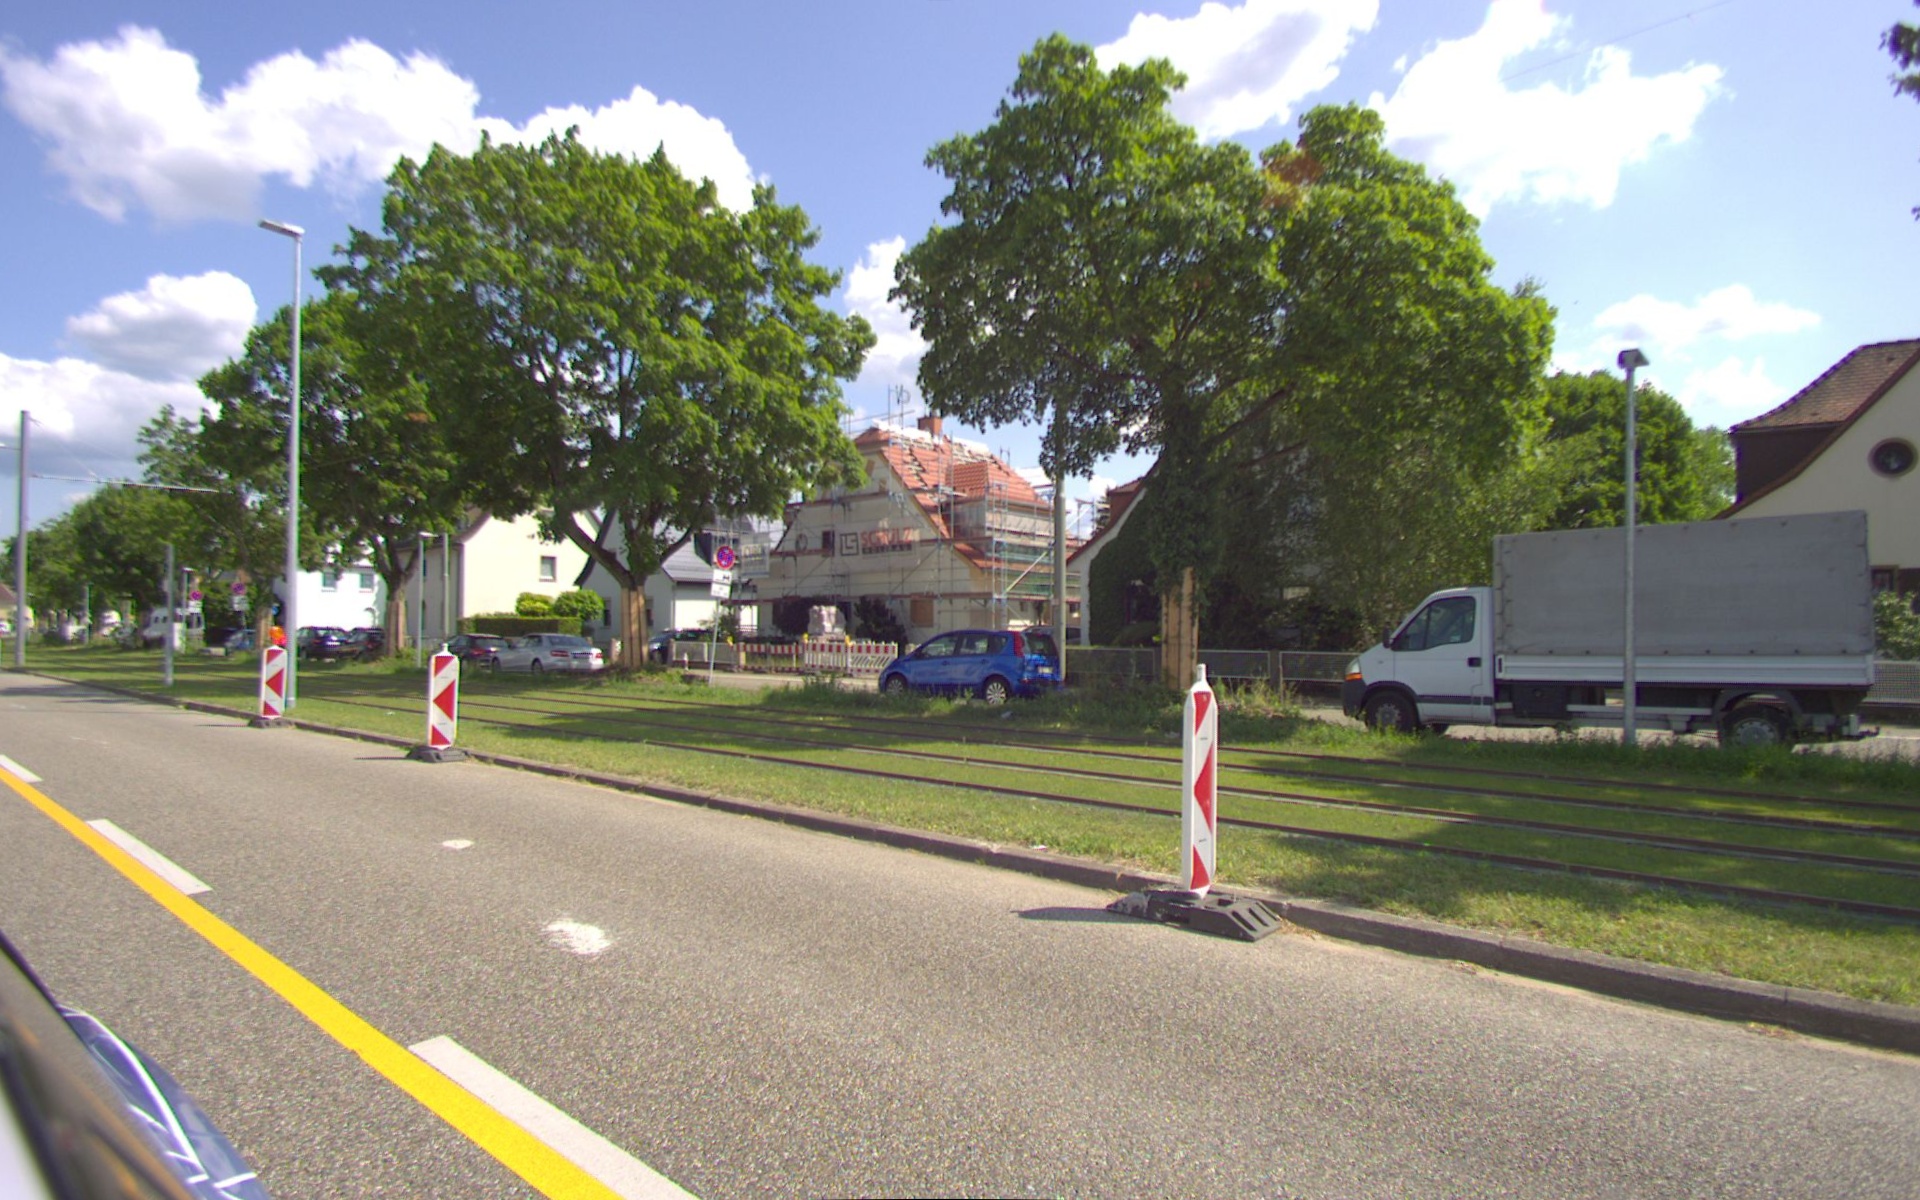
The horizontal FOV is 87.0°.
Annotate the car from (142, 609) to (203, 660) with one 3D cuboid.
[{"bbox_3d":[-49.528,2.198,63.589,5.080,3.061,2.108,-3,-3,41],"label":"car"}]

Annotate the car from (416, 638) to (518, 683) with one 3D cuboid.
[{"bbox_3d":[-17.527,2.140,35.883,4.403,1.497,1.680,-3,-3,41],"label":"car"}]

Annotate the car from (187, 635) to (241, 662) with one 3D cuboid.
[{"bbox_3d":[-44.488,2.909,60.313,4.403,1.497,1.680,-3,-3,41],"label":"car"}]

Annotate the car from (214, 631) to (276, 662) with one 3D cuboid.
[{"bbox_3d":[-37.503,2.458,53.035,4.403,1.497,1.680,-3,-3,41],"label":"car"}]

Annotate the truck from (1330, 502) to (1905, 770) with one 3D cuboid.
[{"bbox_3d":[8.298,0.464,13.399,5.971,2.802,2.242,-2,-3,41],"label":"truck"}]

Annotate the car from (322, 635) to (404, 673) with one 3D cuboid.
[{"bbox_3d":[-25.187,2.278,42.639,4.403,1.497,1.680,-3,-3,41],"label":"car"}]

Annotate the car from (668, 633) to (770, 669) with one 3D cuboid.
[{"bbox_3d":[-10.934,2.319,46.202,1.702,1.497,4.345,-4,-3,41],"label":"car"}]

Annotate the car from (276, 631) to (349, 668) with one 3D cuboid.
[{"bbox_3d":[-29.503,2.251,46.061,4.403,1.584,1.680,-3,-3,41],"label":"car"}]

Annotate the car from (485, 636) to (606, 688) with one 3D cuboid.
[{"bbox_3d":[-13.095,1.950,31.840,4.520,1.497,1.765,-4,-3,42],"label":"car"}]

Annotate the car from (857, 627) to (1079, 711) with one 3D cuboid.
[{"bbox_3d":[0.063,1.364,20.274,4.403,1.497,1.680,-3,-3,41],"label":"car"}]
